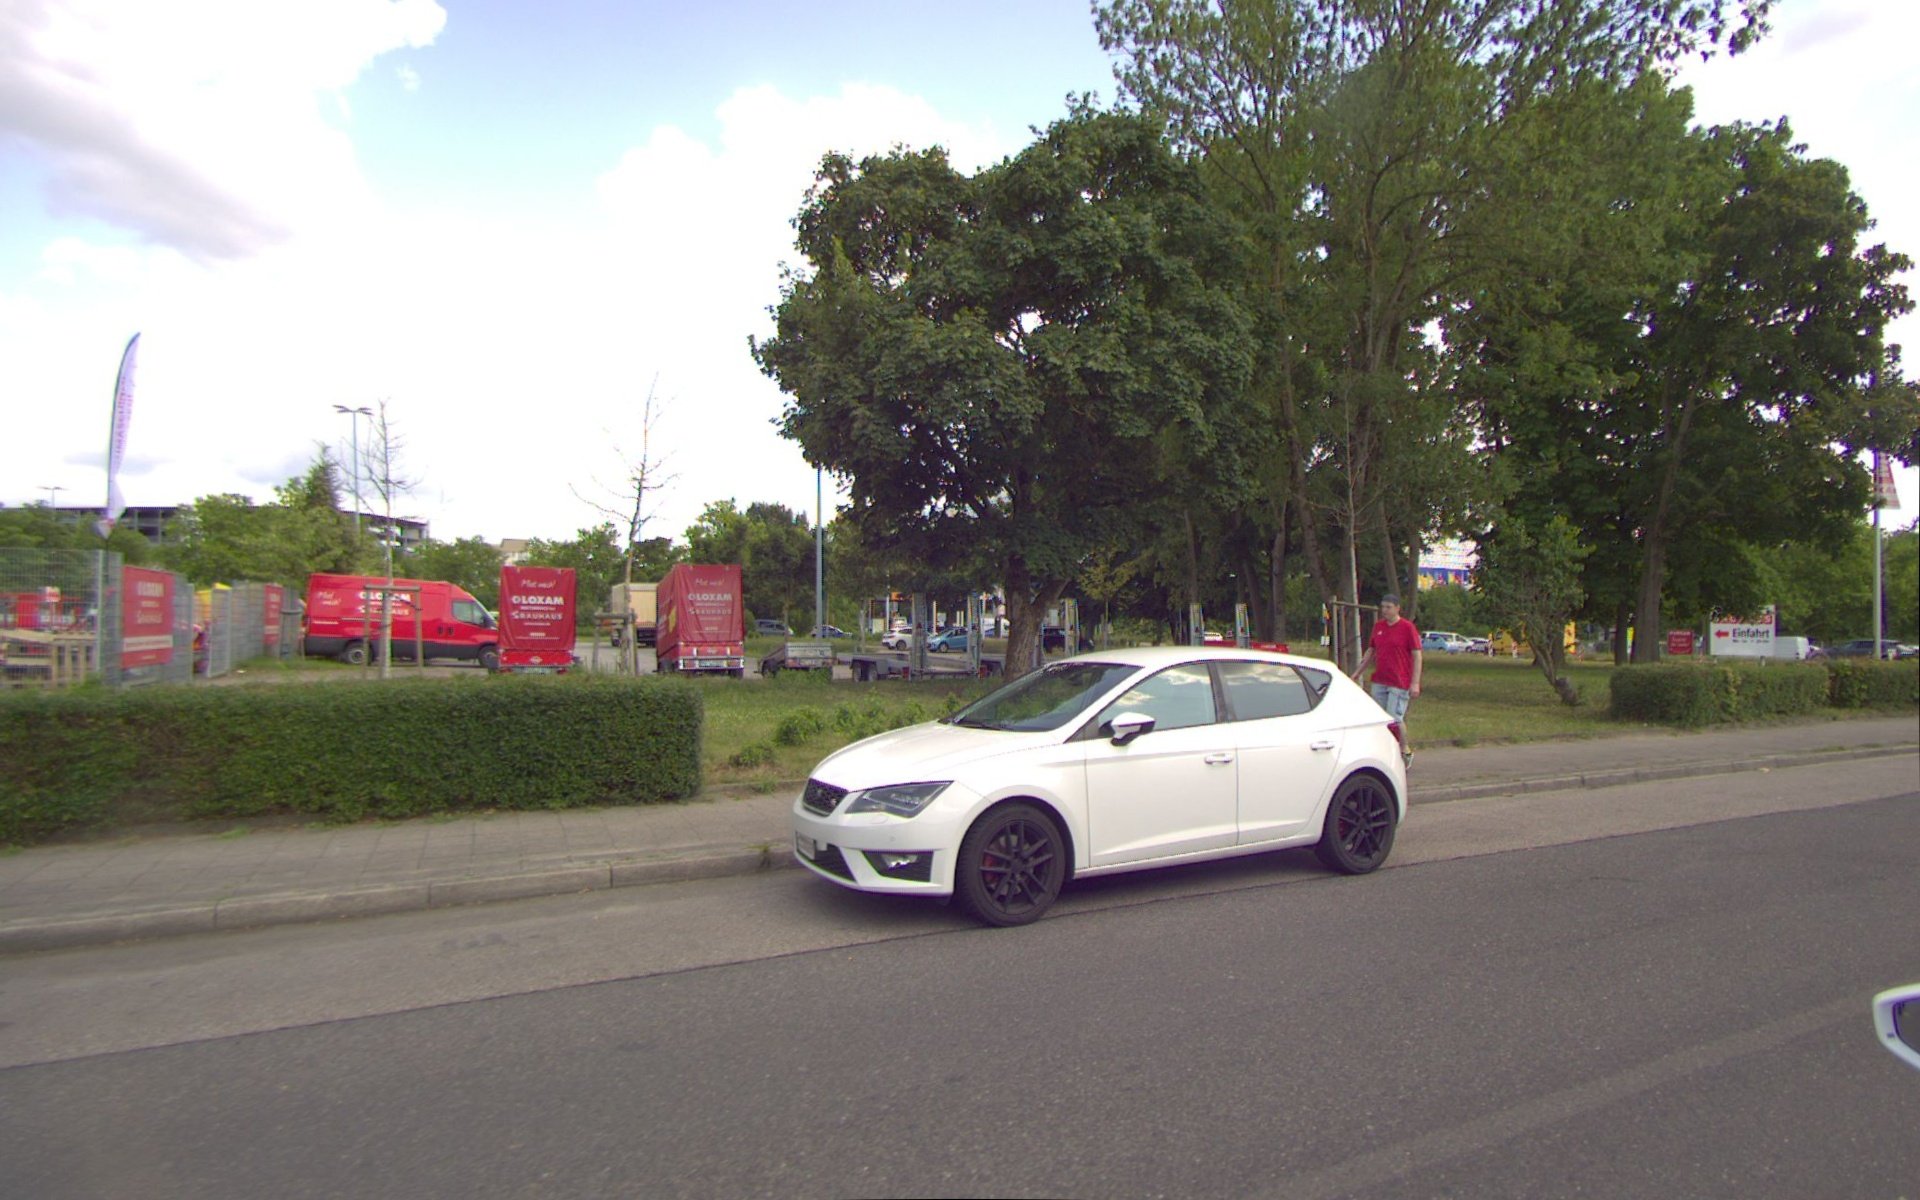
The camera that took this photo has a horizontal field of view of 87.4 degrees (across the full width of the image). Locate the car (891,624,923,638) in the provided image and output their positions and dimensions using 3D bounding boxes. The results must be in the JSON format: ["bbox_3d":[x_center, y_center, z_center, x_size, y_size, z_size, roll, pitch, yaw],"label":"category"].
[{"bbox_3d":[-7.158,4.190,134.863,3.919,1.808,1.893,1,-2,10],"label":"car"}]

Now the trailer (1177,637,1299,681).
[{"bbox_3d":[8.367,1.748,30.580,1.689,1.206,3.812,1,-1,-20],"label":"trailer"}]

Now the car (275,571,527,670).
[{"bbox_3d":[-16.739,0.678,30.532,6.355,2.627,2.258,3,-2,-27],"label":"car"}]

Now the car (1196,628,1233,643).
[{"bbox_3d":[28.760,3.999,113.646,3.830,1.523,1.876,1,-1,6],"label":"car"}]

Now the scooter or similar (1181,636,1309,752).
[{"bbox_3d":[3.122,1.015,11.029,1.259,1.209,0.517,1,-1,-16],"label":"scooter or similar"}]

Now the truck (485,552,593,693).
[{"bbox_3d":[-9.231,0.500,21.928,1.790,2.627,5.740,3,-2,-24],"label":"truck"}]

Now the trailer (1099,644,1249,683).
[{"bbox_3d":[6.103,1.797,29.289,2.155,0.925,4.587,1,-1,-21],"label":"trailer"}]

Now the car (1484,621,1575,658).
[{"bbox_3d":[42.176,2.910,74.643,2.168,2.612,6.389,1,-2,-13],"label":"car"}]

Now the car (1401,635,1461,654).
[{"bbox_3d":[37.103,3.481,79.186,1.775,1.424,4.001,1,-1,-28],"label":"car"}]

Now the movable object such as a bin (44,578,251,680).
[{"bbox_3d":[-19.519,0.711,24.351,3.499,2.305,1.987,1,-1,-27],"label":"movable object such as a bin"}]

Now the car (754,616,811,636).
[{"bbox_3d":[-19.650,2.831,111.119,5.790,2.104,2.213,1,-1,7],"label":"car"}]

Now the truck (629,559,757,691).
[{"bbox_3d":[-6.235,0.580,22.966,1.756,2.627,5.530,3,-2,-25],"label":"truck"}]

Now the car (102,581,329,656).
[{"bbox_3d":[-27.470,0.754,37.434,6.357,2.447,2.258,3,-2,-28],"label":"car"}]

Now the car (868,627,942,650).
[{"bbox_3d":[-3.539,2.488,64.932,4.354,1.431,1.986,2,-1,-27],"label":"car"}]

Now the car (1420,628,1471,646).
[{"bbox_3d":[47.825,3.625,98.968,4.175,1.706,2.001,1,-1,10],"label":"car"}]

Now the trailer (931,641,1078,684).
[{"bbox_3d":[1.067,1.612,26.372,1.998,0.924,4.217,3,-2,-28],"label":"trailer"}]

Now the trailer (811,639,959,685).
[{"bbox_3d":[-1.967,1.516,24.974,2.133,0.924,4.217,3,-2,-28],"label":"trailer"}]

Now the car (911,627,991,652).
[{"bbox_3d":[-0.519,2.380,60.057,4.354,1.431,1.986,2,-1,-27],"label":"car"}]

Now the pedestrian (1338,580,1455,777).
[{"bbox_3d":[4.771,0.834,11.000,0.874,2.040,0.806,2,-1,-27],"label":"pedestrian"}]

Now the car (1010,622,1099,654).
[{"bbox_3d":[4.738,1.914,50.335,4.302,1.531,1.562,2,-2,-28],"label":"car"}]

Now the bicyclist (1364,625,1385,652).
[{"bbox_3d":[26.069,2.449,63.193,0.726,1.669,1.002,0,-2,-31],"label":"bicyclist"}]

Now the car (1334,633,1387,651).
[{"bbox_3d":[33.690,3.554,84.543,1.775,1.424,4.001,1,-1,-28],"label":"car"}]

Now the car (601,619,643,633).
[{"bbox_3d":[-37.172,2.852,110.604,3.919,1.532,1.921,1,-1,6],"label":"car"}]

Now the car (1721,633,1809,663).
[{"bbox_3d":[63.985,3.767,79.949,1.776,2.240,5.262,2,-2,-29],"label":"car"}]

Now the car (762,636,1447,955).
[{"bbox_3d":[0.998,1.018,6.536,4.182,1.498,1.759,1,-4,-28],"label":"car"}]

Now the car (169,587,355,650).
[{"bbox_3d":[-30.526,0.866,44.250,6.357,2.447,2.258,3,-2,-28],"label":"car"}]

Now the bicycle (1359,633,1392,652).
[{"bbox_3d":[26.111,2.665,63.151,0.722,1.181,1.800,0,-2,-31],"label":"bicycle"}]

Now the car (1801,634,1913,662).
[{"bbox_3d":[49.265,2.613,55.249,1.900,1.424,4.203,1,-1,-28],"label":"car"}]

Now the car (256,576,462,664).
[{"bbox_3d":[-20.058,0.719,33.912,5.649,2.627,2.258,3,-2,-26],"label":"car"}]

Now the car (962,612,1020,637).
[{"bbox_3d":[3.286,2.569,104.963,5.790,2.474,2.213,1,-1,7],"label":"car"}]

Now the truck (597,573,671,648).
[{"bbox_3d":[-19.400,0.677,59.385,2.948,4.000,8.297,3,-2,-26],"label":"truck"}]

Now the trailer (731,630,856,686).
[{"bbox_3d":[-4.030,1.331,23.776,1.651,1.135,4.217,3,-2,-28],"label":"trailer"}]
